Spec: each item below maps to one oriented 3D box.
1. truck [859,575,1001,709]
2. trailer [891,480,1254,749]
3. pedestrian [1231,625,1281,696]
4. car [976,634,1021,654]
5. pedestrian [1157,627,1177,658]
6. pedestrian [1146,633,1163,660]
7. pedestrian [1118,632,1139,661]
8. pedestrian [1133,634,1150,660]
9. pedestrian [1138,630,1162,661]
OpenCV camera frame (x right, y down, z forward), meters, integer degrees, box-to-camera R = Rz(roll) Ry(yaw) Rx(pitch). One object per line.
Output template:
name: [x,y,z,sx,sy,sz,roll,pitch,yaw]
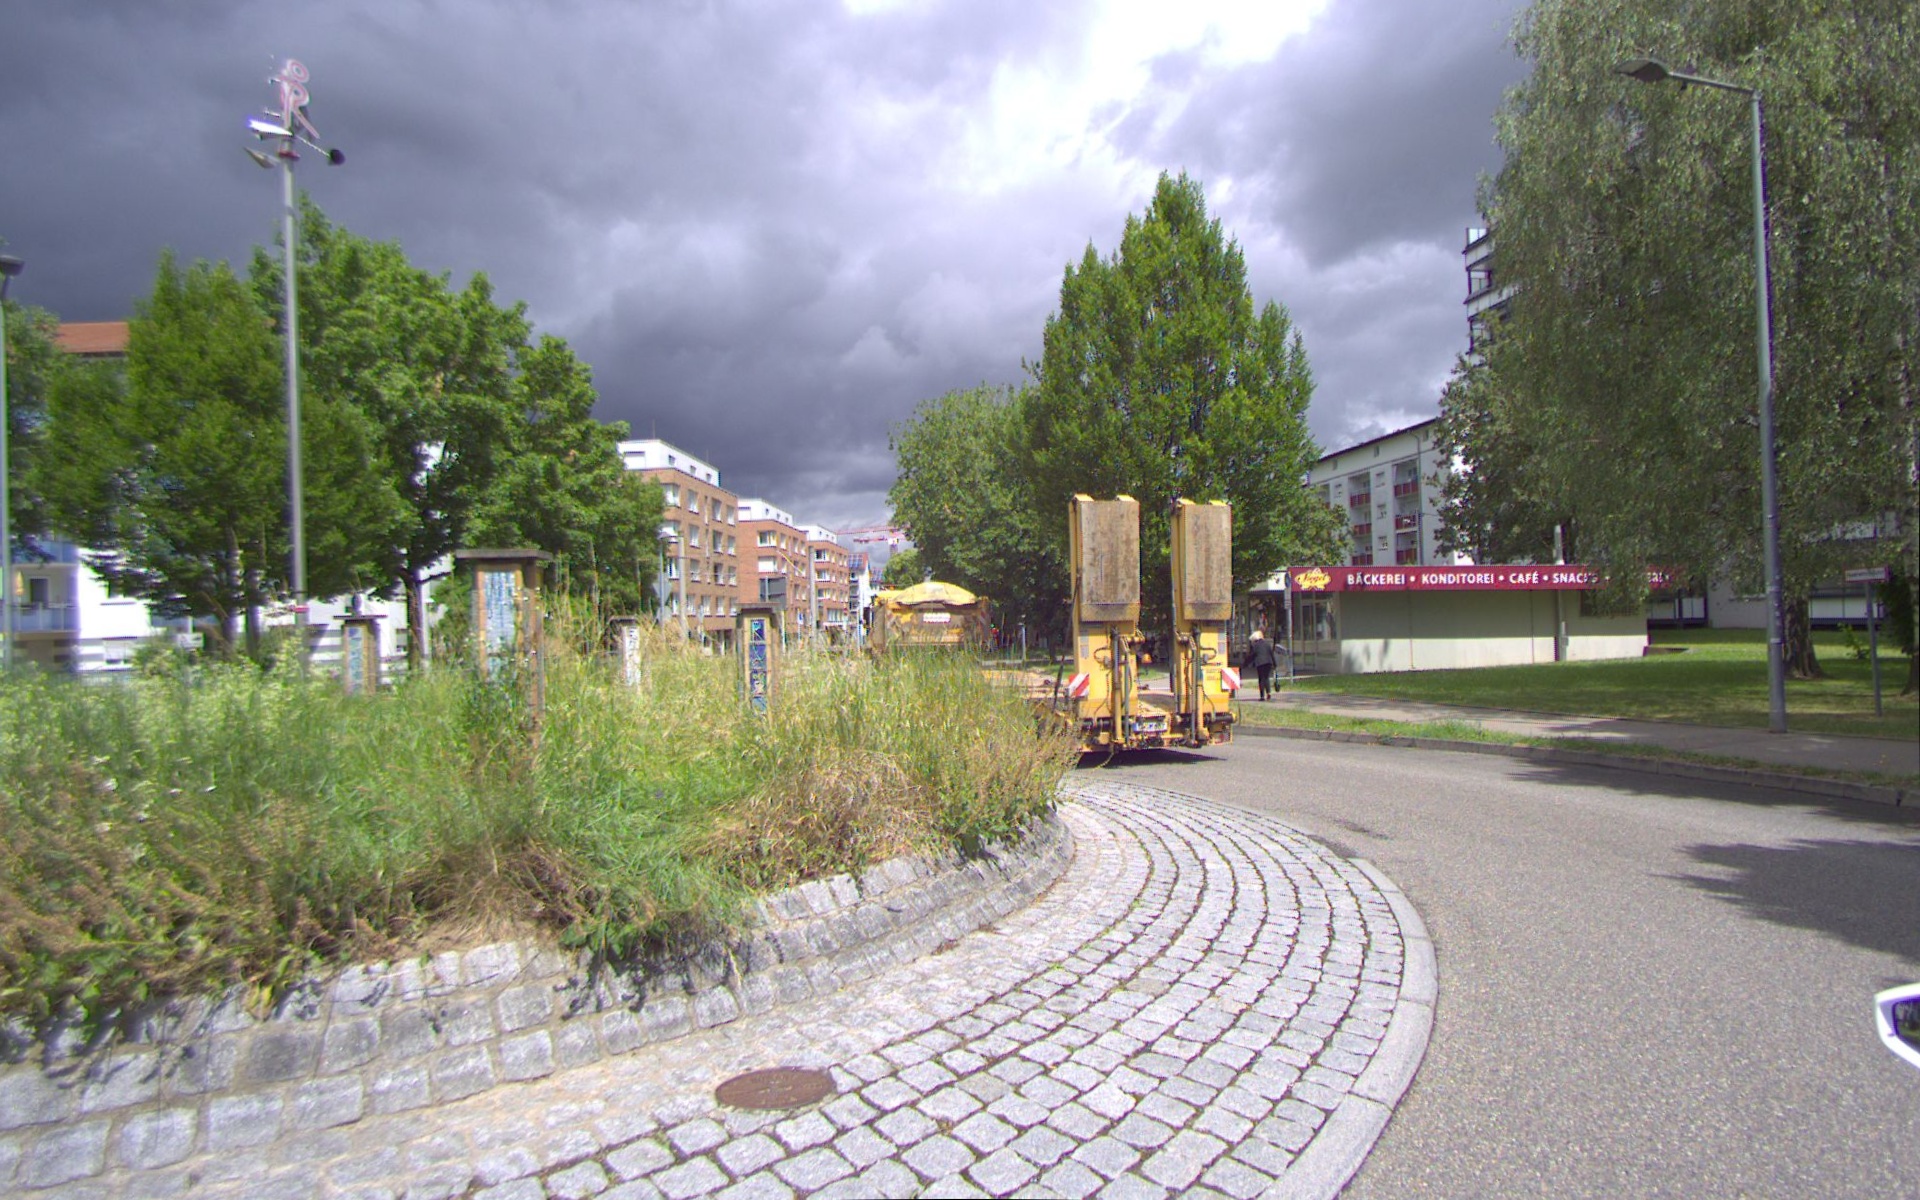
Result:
truck: [-1.100,1.200,27.690,2.942,3.074,8.477,-1,-3,-8]
trailer: [1.184,0.278,18.393,2.825,3.417,10.807,1,-1,-15]
pedestrian: [6.747,1.359,22.889,0.857,1.540,0.803,-2,1,-2]
car: [3.393,3.864,88.194,3.920,1.532,2.000,-1,1,4]
pedestrian: [9.616,1.987,46.652,0.706,1.399,0.699,-2,-2,-2]
pedestrian: [9.286,2.211,47.948,0.705,1.217,0.699,-2,-2,5]
pedestrian: [7.920,2.191,47.284,0.863,1.342,0.611,-2,-2,0]
pedestrian: [8.697,2.229,48.096,0.705,1.217,0.699,-2,-2,5]
pedestrian: [8.794,2.112,46.471,0.864,1.342,0.821,-2,1,-9]
